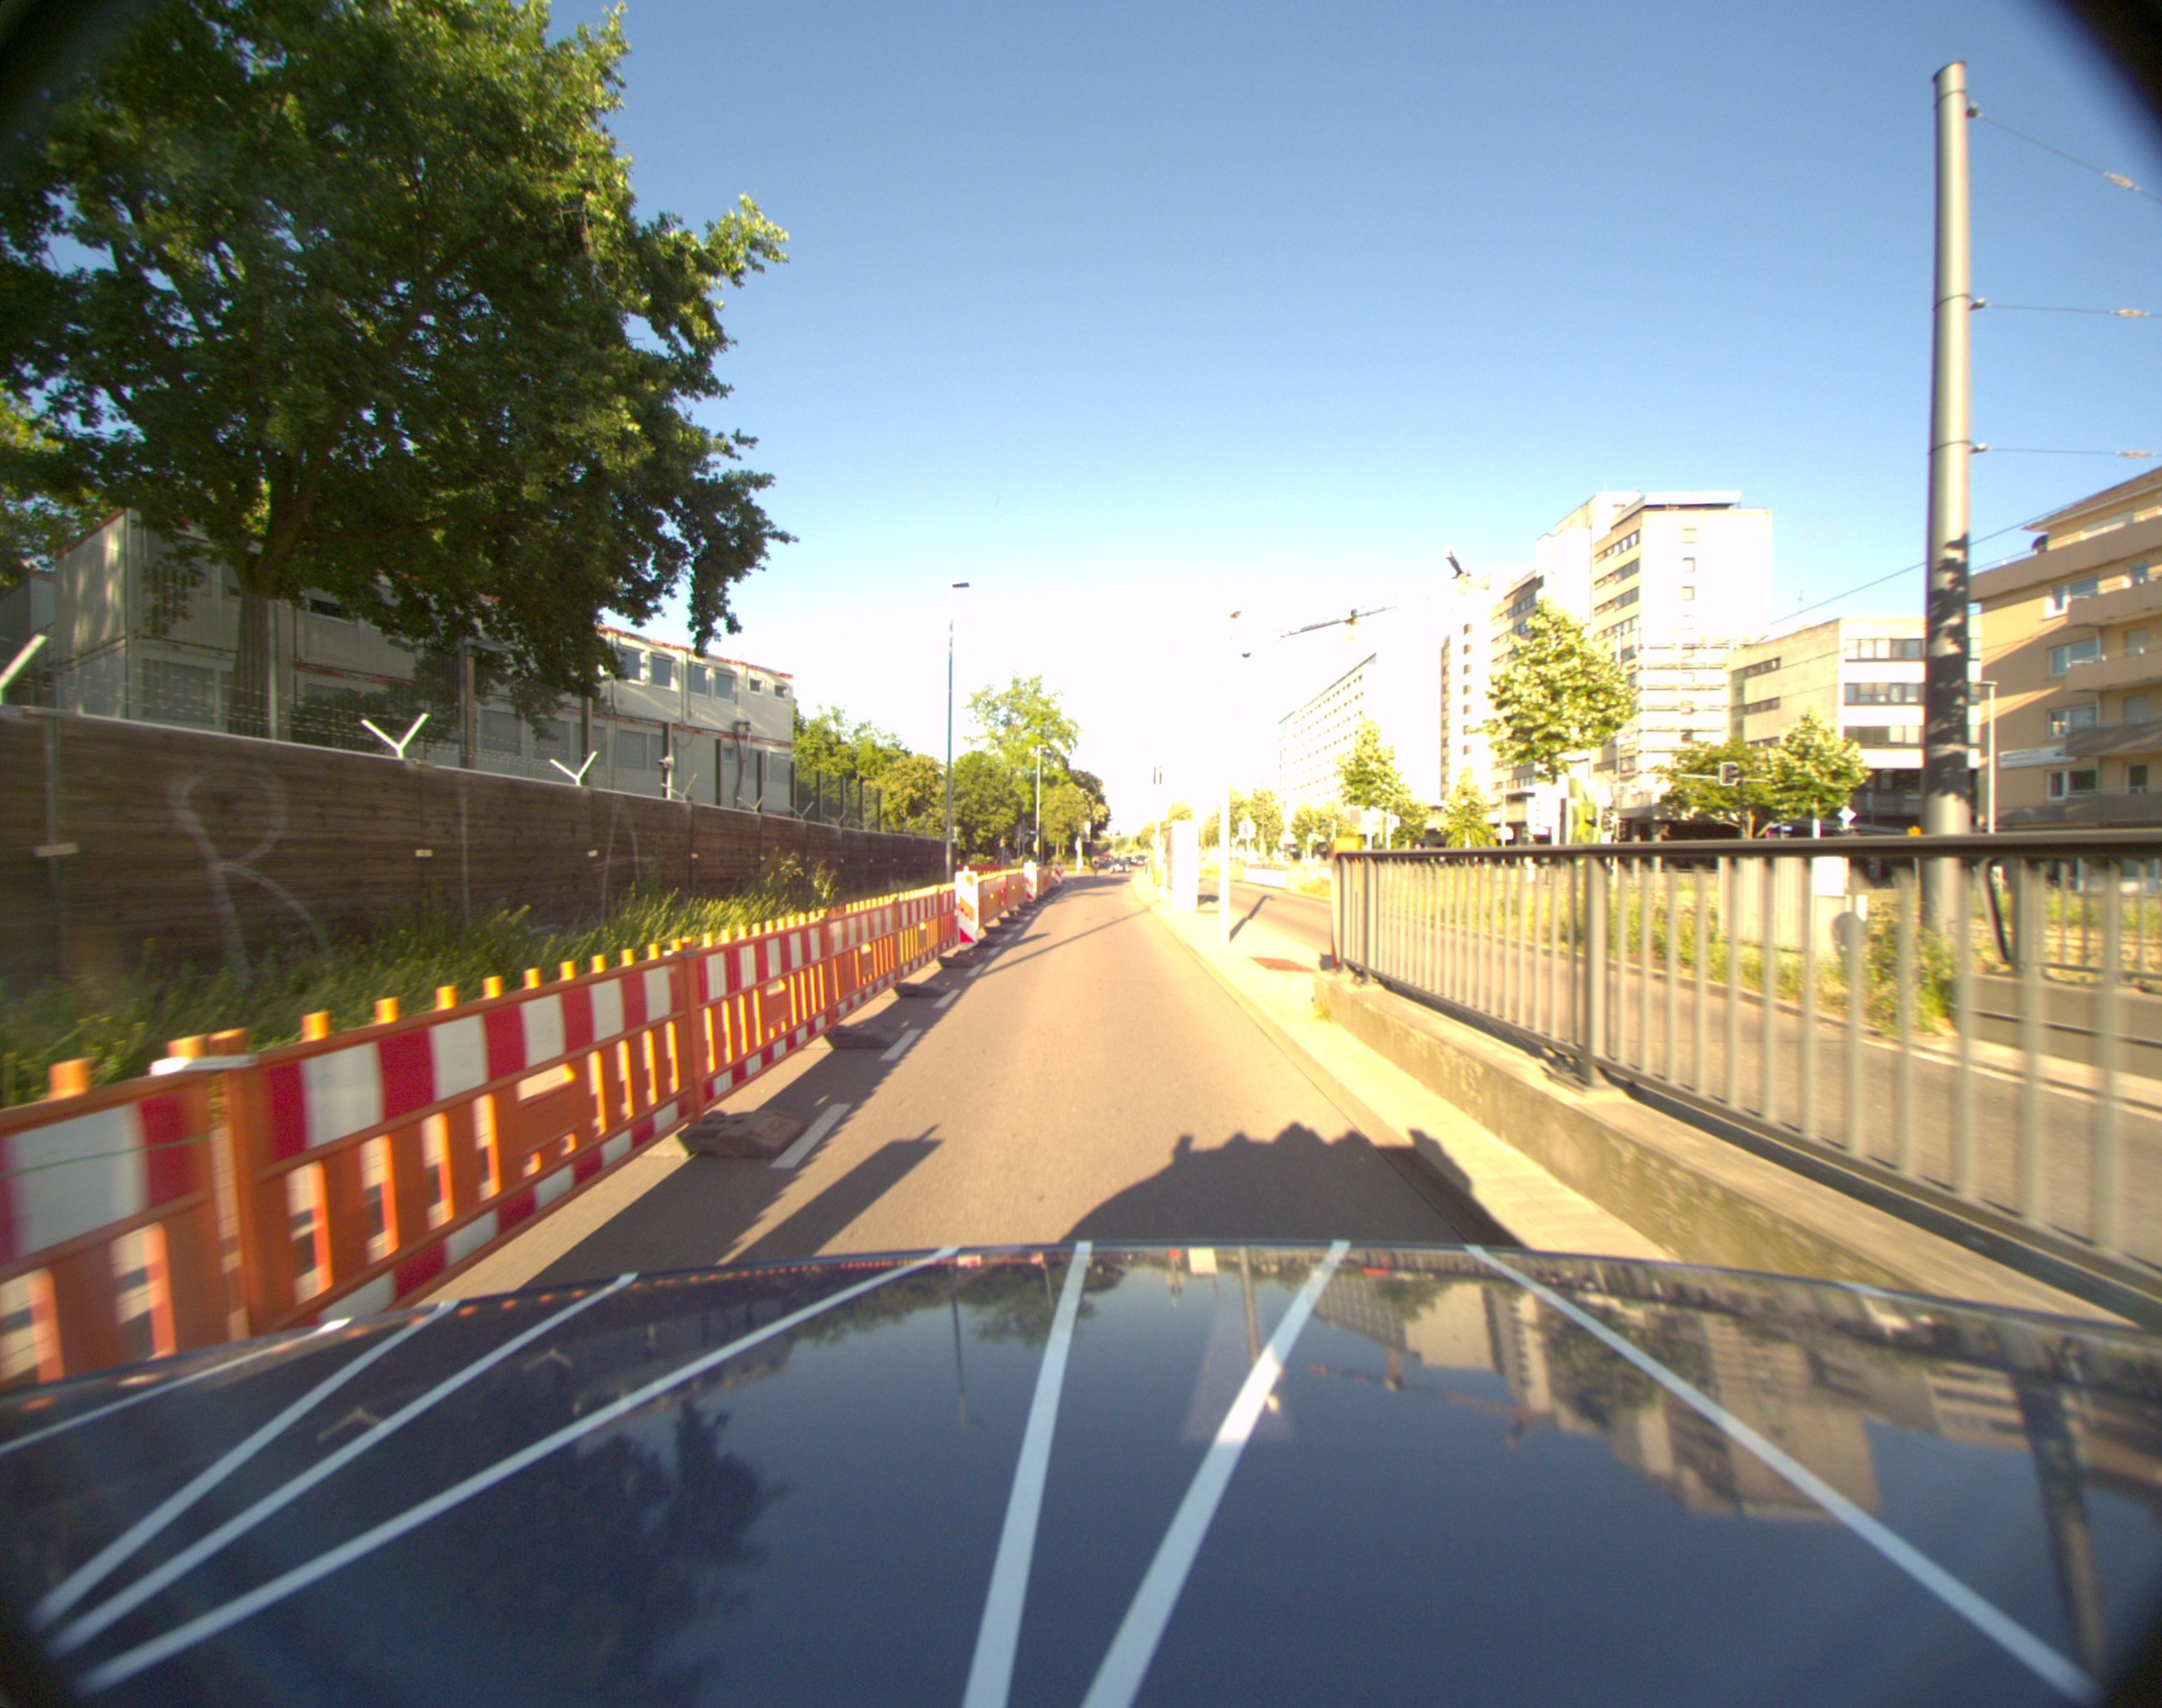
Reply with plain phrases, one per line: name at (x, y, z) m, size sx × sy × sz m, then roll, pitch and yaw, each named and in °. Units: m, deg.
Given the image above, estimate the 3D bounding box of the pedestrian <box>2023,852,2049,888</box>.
pedestrian at (41.894, 0.687, 33.330) m, size 0.448 × 1.546 × 0.521 m, roll 0°, pitch 1°, yaw 1°

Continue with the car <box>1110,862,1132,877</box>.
car at (3.815, 1.432, 72.671) m, size 1.998 × 1.346 × 4.000 m, roll 0°, pitch 0°, yaw 2°

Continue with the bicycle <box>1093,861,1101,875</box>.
bicycle at (1.161, 1.018, 55.228) m, size 0.505 × 1.018 × 1.505 m, roll 0°, pitch 0°, yaw 2°

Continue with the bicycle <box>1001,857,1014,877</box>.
bicycle at (-3.971, 0.711, 41.182) m, size 0.428 × 1.055 × 1.911 m, roll 0°, pitch 0°, yaw 3°

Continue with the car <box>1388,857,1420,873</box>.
car at (37.041, 1.234, 87.111) m, size 4.204 × 1.681 × 1.617 m, roll -3°, pitch 1°, yaw -39°

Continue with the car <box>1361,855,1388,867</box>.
car at (37.617, 0.893, 97.302) m, size 3.800 × 1.436 × 1.617 m, roll -3°, pitch 1°, yaw -41°

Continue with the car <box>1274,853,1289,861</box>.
car at (37.662, 0.611, 142.684) m, size 1.874 × 1.457 × 3.390 m, roll -2°, pitch 1°, yaw 2°

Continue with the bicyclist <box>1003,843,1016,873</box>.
bicyclist at (-3.859, 0.193, 41.296) m, size 0.585 × 1.605 × 0.903 m, roll 0°, pitch 1°, yaw 2°

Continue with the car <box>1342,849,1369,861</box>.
car at (37.540, 0.105, 103.915) m, size 4.556 × 1.436 × 1.617 m, roll -3°, pitch 1°, yaw -43°

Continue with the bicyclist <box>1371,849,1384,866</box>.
bicyclist at (24.356, 0.318, 62.377) m, size 0.737 × 1.386 × 0.715 m, roll -1°, pitch 1°, yaw -23°

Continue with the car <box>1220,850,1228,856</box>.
car at (42.275, -0.206, 224.716) m, size 1.874 × 1.579 × 4.639 m, roll -2°, pitch 1°, yaw 2°

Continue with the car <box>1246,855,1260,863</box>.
car at (32.834, 0.960, 145.163) m, size 1.780 × 1.455 × 4.662 m, roll 0°, pitch 0°, yaw 1°

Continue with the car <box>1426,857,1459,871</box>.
car at (35.846, 0.990, 75.313) m, size 3.473 × 1.266 × 1.617 m, roll -3°, pitch 1°, yaw -42°

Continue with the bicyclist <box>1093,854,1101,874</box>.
bicyclist at (1.159, 0.710, 55.166) m, size 0.516 × 1.399 × 0.805 m, roll 0°, pitch 1°, yaw 1°

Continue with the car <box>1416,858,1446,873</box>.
car at (37.286, 1.224, 80.841) m, size 3.473 × 1.394 × 1.617 m, roll -3°, pitch 1°, yaw -42°

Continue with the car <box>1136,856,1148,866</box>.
car at (8.769, 0.958, 108.898) m, size 1.591 × 1.449 × 4.001 m, roll 0°, pitch 0°, yaw 3°

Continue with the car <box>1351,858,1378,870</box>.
car at (37.344, 1.294, 100.171) m, size 3.809 × 1.436 × 1.785 m, roll -3°, pitch 1°, yaw -43°

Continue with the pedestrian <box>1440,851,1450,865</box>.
pedestrian at (42.820, 0.435, 89.368) m, size 0.776 × 1.630 × 0.882 m, roll 0°, pitch 1°, yaw 1°

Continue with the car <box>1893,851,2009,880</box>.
car at (46.262, 0.601, 40.457) m, size 3.996 × 1.487 × 1.847 m, roll 0°, pitch 0°, yaw 1°

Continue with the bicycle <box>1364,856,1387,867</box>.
bicycle at (24.345, 0.611, 62.790) m, size 0.507 × 0.886 × 2.027 m, roll -1°, pitch 0°, yaw -22°
